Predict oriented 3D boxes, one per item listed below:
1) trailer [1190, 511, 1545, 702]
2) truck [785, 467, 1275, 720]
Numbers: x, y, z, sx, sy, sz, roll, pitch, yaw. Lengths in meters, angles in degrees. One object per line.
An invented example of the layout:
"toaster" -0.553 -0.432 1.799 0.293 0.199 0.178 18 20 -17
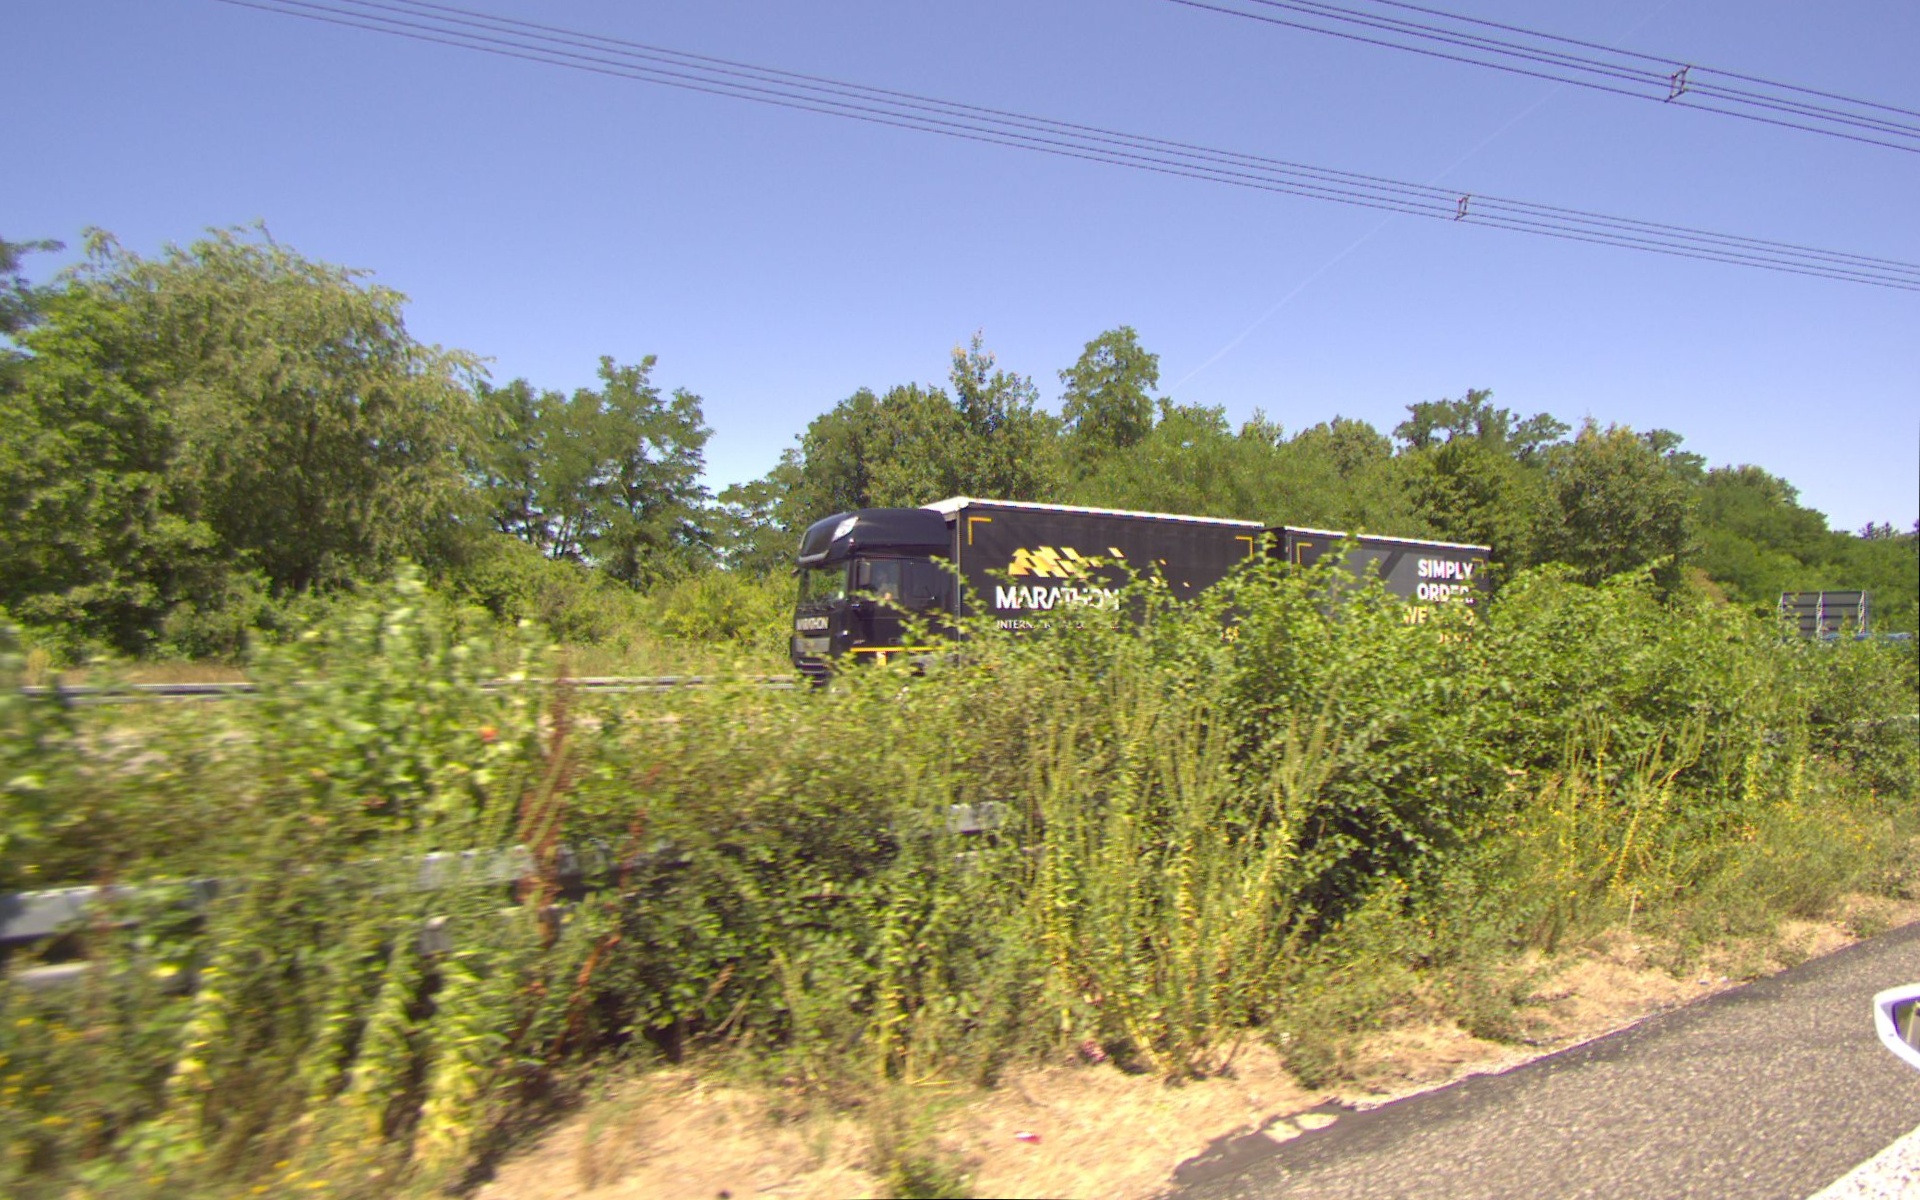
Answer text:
"trailer" 10.587 0.321 25.507 10.178 4.149 2.754 2 -3 -31
"truck" 1.761 0.061 20.303 10.096 4.176 2.746 2 -2 -30
